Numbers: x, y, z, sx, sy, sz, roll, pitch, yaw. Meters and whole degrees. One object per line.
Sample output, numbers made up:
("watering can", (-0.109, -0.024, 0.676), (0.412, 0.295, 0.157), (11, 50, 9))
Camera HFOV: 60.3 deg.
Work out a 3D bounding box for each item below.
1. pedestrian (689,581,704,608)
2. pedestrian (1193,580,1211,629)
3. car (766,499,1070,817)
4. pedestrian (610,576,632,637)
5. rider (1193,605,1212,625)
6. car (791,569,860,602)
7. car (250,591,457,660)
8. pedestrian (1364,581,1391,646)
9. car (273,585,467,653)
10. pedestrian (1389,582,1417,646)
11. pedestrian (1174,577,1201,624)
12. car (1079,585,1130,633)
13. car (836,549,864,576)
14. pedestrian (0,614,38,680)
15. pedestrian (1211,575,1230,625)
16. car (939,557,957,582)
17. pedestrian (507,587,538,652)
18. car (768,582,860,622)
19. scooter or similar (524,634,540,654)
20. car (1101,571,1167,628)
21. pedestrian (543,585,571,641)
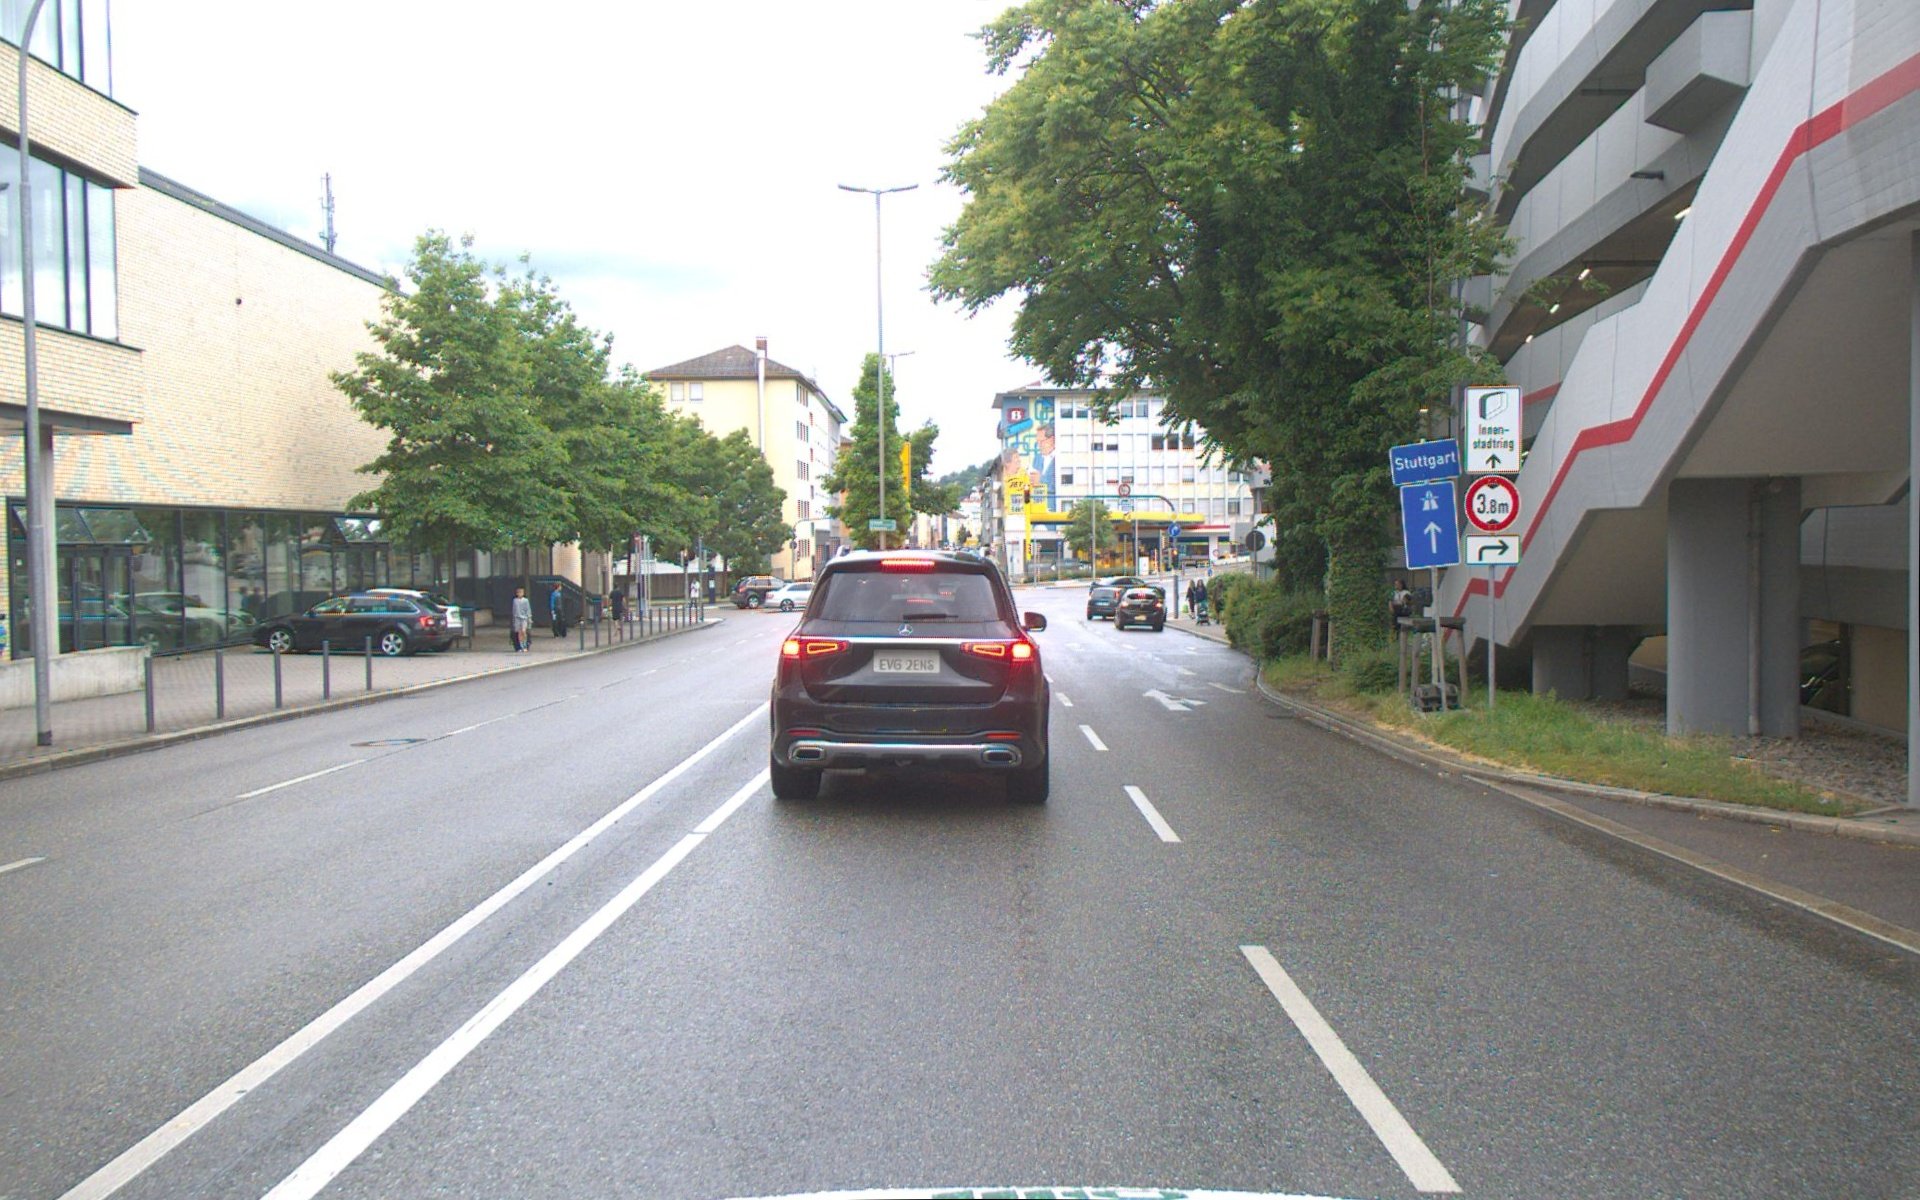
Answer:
("pedestrian", (-14.832, -0.287, 93.166), (0.697, 1.487, 0.598), (1, -1, -1))
("pedestrian", (9.687, 0.173, 66.294), (0.648, 1.951, 0.729), (1, -1, 7))
("car", (-0.308, 0.396, 12.886), (1.953, 2.049, 3.999), (1, 0, -1))
("pedestrian", (-11.560, 0.207, 56.348), (0.576, 2.048, 0.749), (1, 1, -2))
("rider", (9.610, 0.598, 65.571), (0.679, 0.753, 0.633), (1, -1, 5))
("car", (-8.061, -0.880, 99.289), (3.917, 1.977, 1.994), (0, 0, -12))
("car", (-14.751, 0.598, 40.435), (4.382, 1.615, 1.997), (0, 0, -6))
("pedestrian", (10.228, 0.327, 40.522), (0.539, 1.559, 0.488), (1, -1, 6))
("car", (-15.210, 0.474, 42.797), (4.330, 1.601, 1.998), (1, 2, -5))
("pedestrian", (10.781, 0.347, 40.270), (0.569, 1.527, 0.504), (1, -1, 6))
("pedestrian", (10.185, 0.023, 73.955), (1.004, 2.049, 0.999), (1, 0, -1))
("car", (6.503, 0.396, 74.597), (1.952, 2.049, 4.000), (1, 0, 1))
("car", (-8.635, -2.945, 130.109), (1.953, 1.908, 5.140), (1, 0, -2))
("pedestrian", (-13.507, 0.657, 23.347), (0.667, 0.901, 0.524), (1, -1, 0))
("pedestrian", (10.350, 0.003, 65.673), (0.607, 1.969, 0.610), (1, -1, -1))
("car", (-1.391, -3.455, 184.786), (1.953, 2.045, 4.007), (1, 11, -1))
("pedestrian", (-11.820, 0.526, 44.675), (0.662, 1.727, 0.479), (1, -2, 0))
("car", (-7.683, 0.113, 86.899), (4.714, 2.049, 1.997), (0, 1, -8))
("scooter or similar", (-11.667, 1.198, 45.087), (0.274, 0.509, 0.616), (1, 0, 0))
("car", (6.547, -0.039, 62.662), (1.953, 2.049, 3.999), (1, 1, -2))
("pedestrian", (-12.851, 0.415, 52.709), (0.674, 1.756, 0.754), (1, -2, -1))
